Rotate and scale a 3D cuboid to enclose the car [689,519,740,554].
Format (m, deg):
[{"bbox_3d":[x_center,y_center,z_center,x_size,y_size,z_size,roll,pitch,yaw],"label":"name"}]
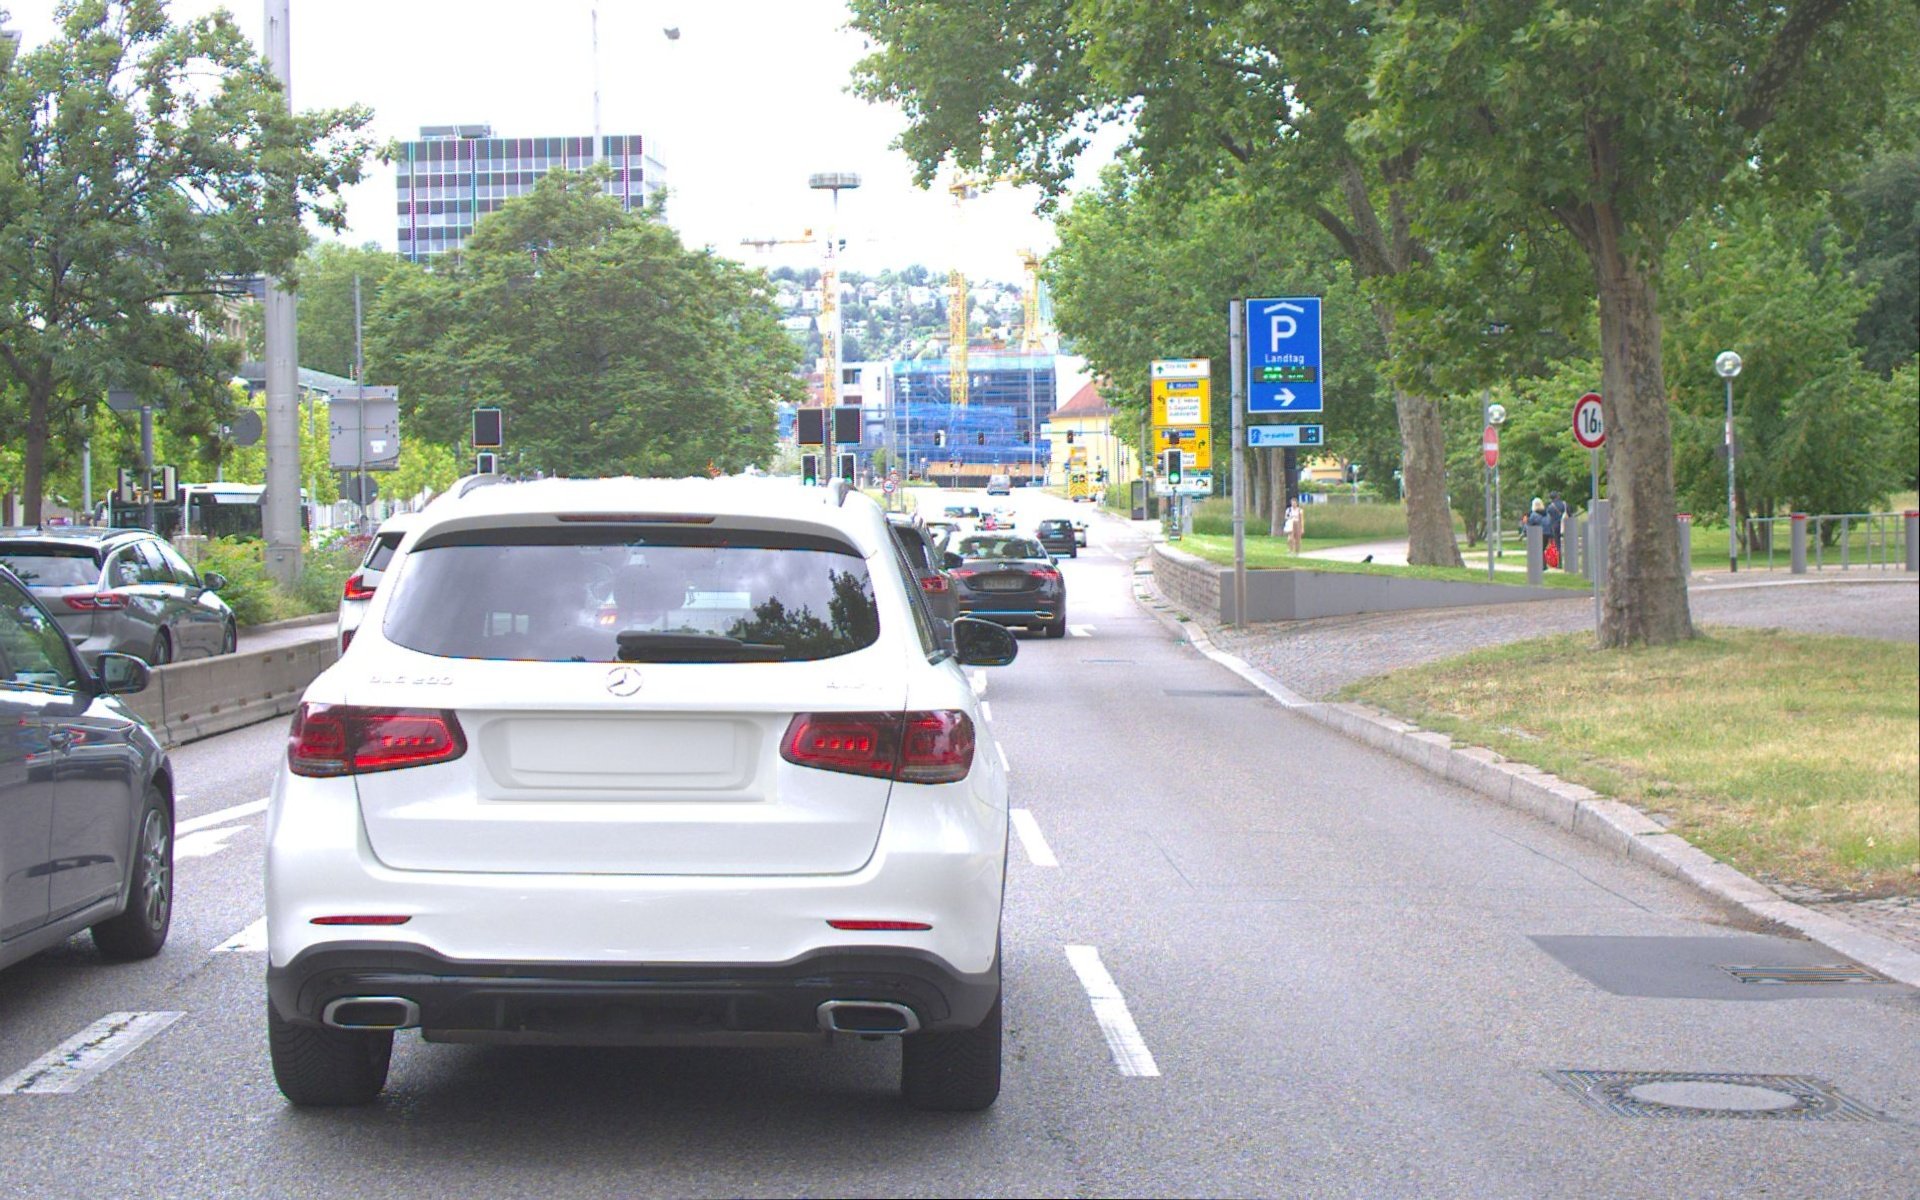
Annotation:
[{"bbox_3d":[-9.337,-2.414,130.781,1.659,1.315,3.547,0,1,0],"label":"car"}]

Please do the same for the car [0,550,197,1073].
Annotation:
[{"bbox_3d":[-3.588,0.571,10.435,1.797,1.432,4.021,0,1,-2],"label":"car"}]

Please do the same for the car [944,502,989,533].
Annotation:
[{"bbox_3d":[0.277,-3.598,149.511,1.947,1.315,4.017,0,1,0],"label":"car"}]

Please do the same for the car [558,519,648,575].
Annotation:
[{"bbox_3d":[-8.591,-1.276,82.952,1.659,1.315,3.547,0,1,2],"label":"car"}]

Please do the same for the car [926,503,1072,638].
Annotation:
[{"bbox_3d":[0.485,-0.430,46.753,1.825,1.746,4.000,-1,1,-1],"label":"car"}]

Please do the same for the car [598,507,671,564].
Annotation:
[{"bbox_3d":[-8.819,-1.753,93.374,1.659,1.508,3.547,-1,1,0],"label":"car"}]

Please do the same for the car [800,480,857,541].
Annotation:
[{"bbox_3d":[-5.428,-3.718,142.405,1.994,2.467,4.000,-1,1,3],"label":"car"}]

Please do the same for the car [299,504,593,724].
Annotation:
[{"bbox_3d":[-4.057,0.071,27.842,1.851,1.622,4.907,0,1,-3],"label":"car"}]

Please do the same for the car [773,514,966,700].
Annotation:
[{"bbox_3d":[-0.896,0.023,32.221,1.659,1.633,3.548,-1,1,-4],"label":"car"}]

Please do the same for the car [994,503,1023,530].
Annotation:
[{"bbox_3d":[3.055,-5.297,218.058,1.758,1.663,4.168,0,1,-1],"label":"car"}]

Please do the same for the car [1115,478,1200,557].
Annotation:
[{"bbox_3d":[5.110,-2.128,89.401,1.993,2.007,4.000,0,1,0],"label":"car"}]

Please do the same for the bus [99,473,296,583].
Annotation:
[{"bbox_3d":[-23.939,-2.302,108.882,3.667,3.194,14.276,-1,1,-3],"label":"bus"}]

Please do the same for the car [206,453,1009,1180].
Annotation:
[{"bbox_3d":[-0.789,0.442,9.948,1.788,1.619,4.437,-1,1,0],"label":"car"}]

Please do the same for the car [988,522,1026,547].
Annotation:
[{"bbox_3d":[2.518,-3.514,184.888,1.947,1.315,4.017,0,1,0],"label":"car"}]

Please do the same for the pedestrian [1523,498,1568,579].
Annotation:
[{"bbox_3d":[11.699,-1.224,68.721,0.660,1.605,0.641,-1,1,-19],"label":"pedestrian"}]

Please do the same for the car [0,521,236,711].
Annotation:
[{"bbox_3d":[-7.084,0.091,27.908,1.661,1.431,3.961,0,1,-1],"label":"car"}]

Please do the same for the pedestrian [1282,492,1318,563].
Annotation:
[{"bbox_3d":[9.665,-2.050,97.779,0.761,2.007,0.697,0,1,35],"label":"pedestrian"}]

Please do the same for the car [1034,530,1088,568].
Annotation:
[{"bbox_3d":[3.854,-1.956,131.729,1.947,1.423,4.017,0,1,0],"label":"car"}]

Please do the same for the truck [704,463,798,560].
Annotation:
[{"bbox_3d":[-6.366,-2.697,105.478,2.620,2.851,7.079,1,1,-2],"label":"truck"}]

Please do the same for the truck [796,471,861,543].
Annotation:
[{"bbox_3d":[-5.679,-4.005,149.084,2.691,2.981,5.638,1,1,-2],"label":"truck"}]

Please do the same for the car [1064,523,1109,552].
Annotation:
[{"bbox_3d":[5.892,-2.902,160.242,1.947,1.315,4.017,0,1,0],"label":"car"}]

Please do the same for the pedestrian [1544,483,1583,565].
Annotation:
[{"bbox_3d":[12.770,-1.608,72.755,0.759,1.719,0.699,0,1,7],"label":"pedestrian"}]

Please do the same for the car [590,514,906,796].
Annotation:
[{"bbox_3d":[-1.382,0.282,21.436,1.795,1.603,3.756,0,1,-5],"label":"car"}]
